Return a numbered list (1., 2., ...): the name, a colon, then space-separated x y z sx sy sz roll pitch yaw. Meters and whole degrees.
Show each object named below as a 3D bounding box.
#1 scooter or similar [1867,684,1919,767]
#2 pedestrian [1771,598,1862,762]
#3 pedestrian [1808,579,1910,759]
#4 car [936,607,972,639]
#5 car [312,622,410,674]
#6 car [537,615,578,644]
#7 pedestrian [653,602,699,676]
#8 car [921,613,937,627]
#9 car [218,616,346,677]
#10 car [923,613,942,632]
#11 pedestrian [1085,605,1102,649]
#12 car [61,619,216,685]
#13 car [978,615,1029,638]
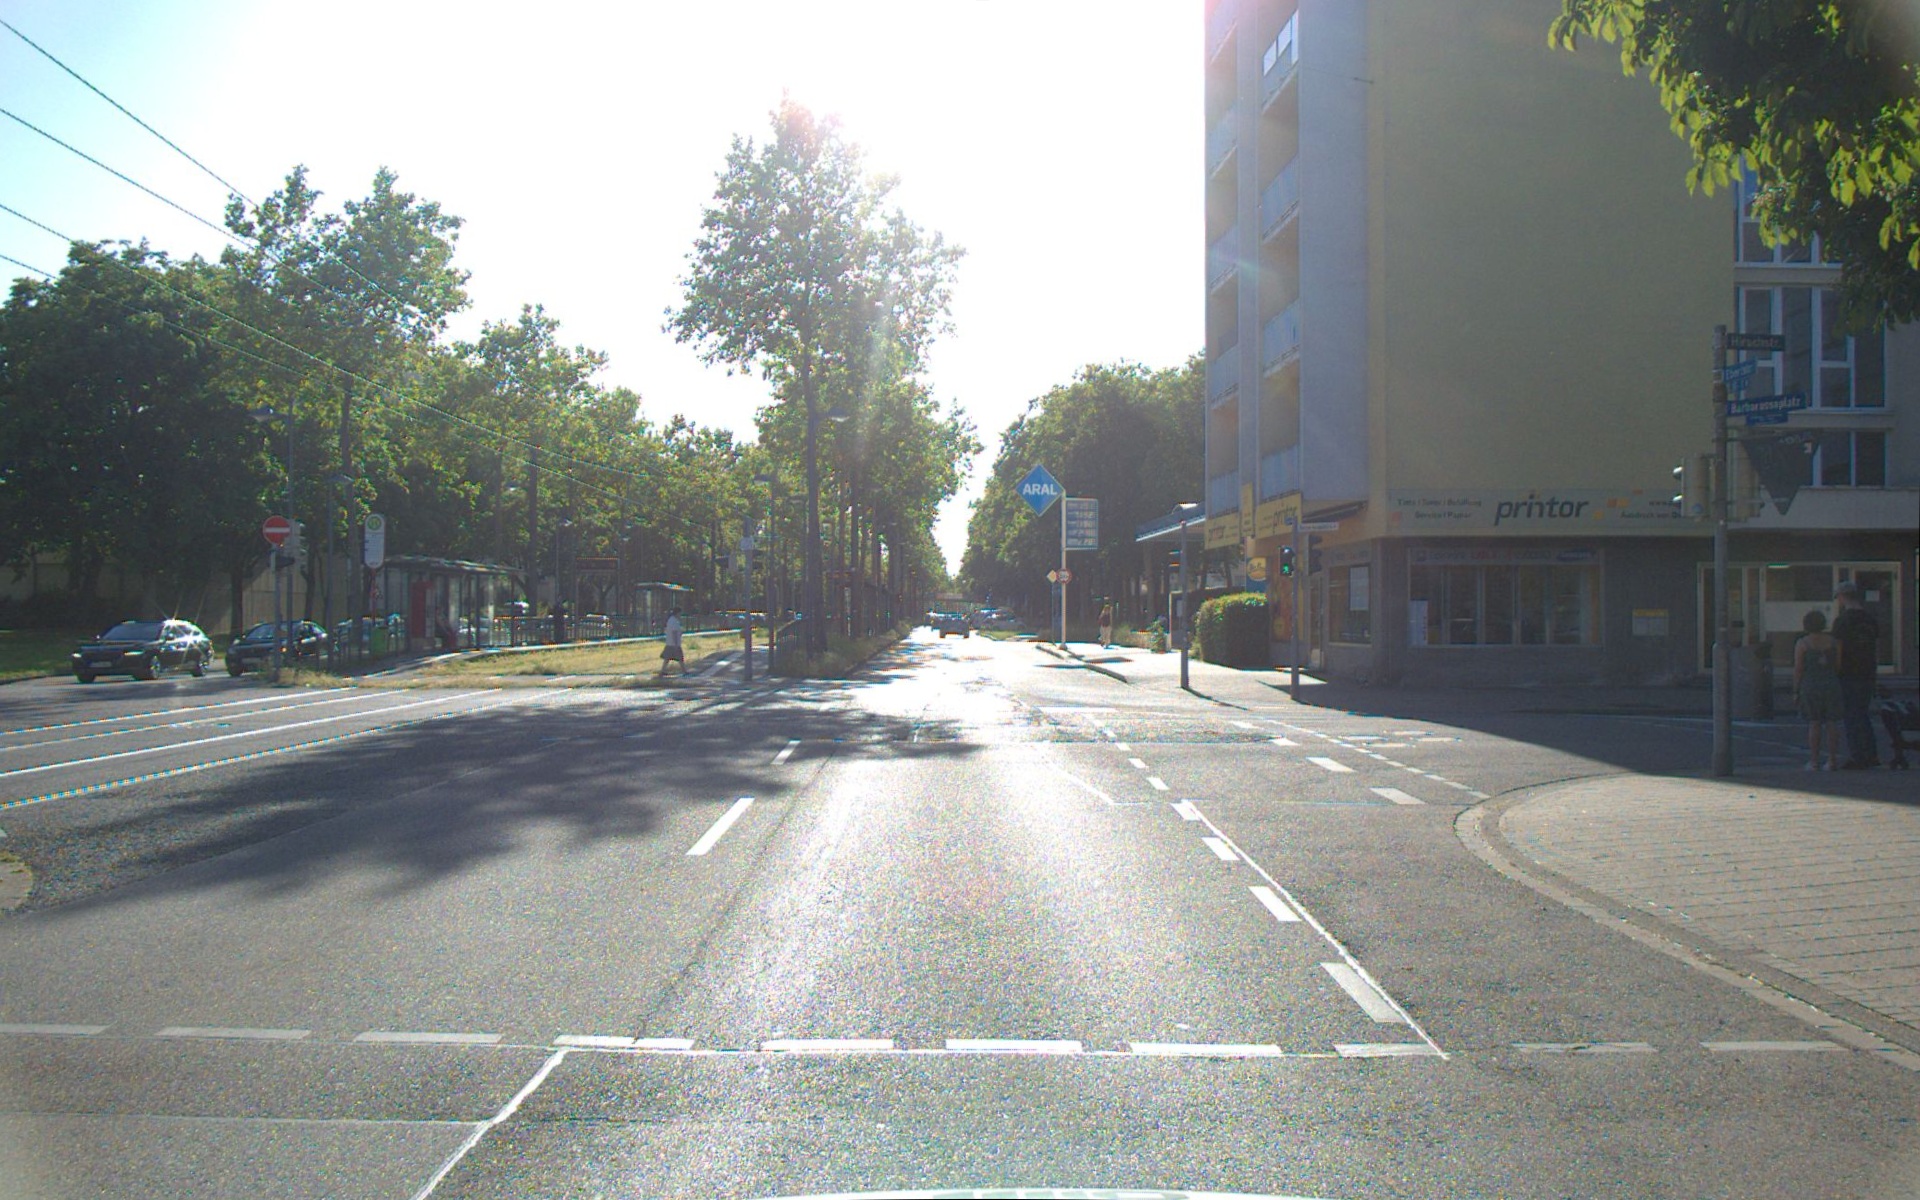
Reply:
1. scooter or similar: 9.217 1.211 15.918 0.585 0.750 0.681 2 -1 -1
2. pedestrian: 8.363 0.773 16.166 0.633 1.549 0.496 2 -1 12
3. pedestrian: 8.844 0.670 16.283 0.714 1.711 0.533 2 -1 12
4. car: -0.337 1.425 104.174 1.963 1.892 4.001 2 -1 3
5. car: -18.292 1.440 50.636 1.534 1.426 3.914 2 0 0
6. car: -23.897 1.747 98.363 1.589 1.591 3.412 2 -1 -1
7. pedestrian: -6.449 0.878 37.562 0.873 1.634 0.613 2 -1 -1
8. car: -3.643 2.344 194.798 1.856 1.639 4.498 2 0 -2
9. car: -18.154 1.212 44.488 1.653 1.560 4.360 0 0 0
10. car: -2.475 2.034 149.982 1.601 1.576 4.000 2 0 1
11. pedestrian: 5.472 1.086 67.717 0.562 1.778 0.506 2 -1 -1
12. car: -20.702 1.268 41.879 1.770 1.560 4.360 0 -1 0
13. car: 3.638 2.205 139.553 3.943 1.780 1.738 3 -1 -29
